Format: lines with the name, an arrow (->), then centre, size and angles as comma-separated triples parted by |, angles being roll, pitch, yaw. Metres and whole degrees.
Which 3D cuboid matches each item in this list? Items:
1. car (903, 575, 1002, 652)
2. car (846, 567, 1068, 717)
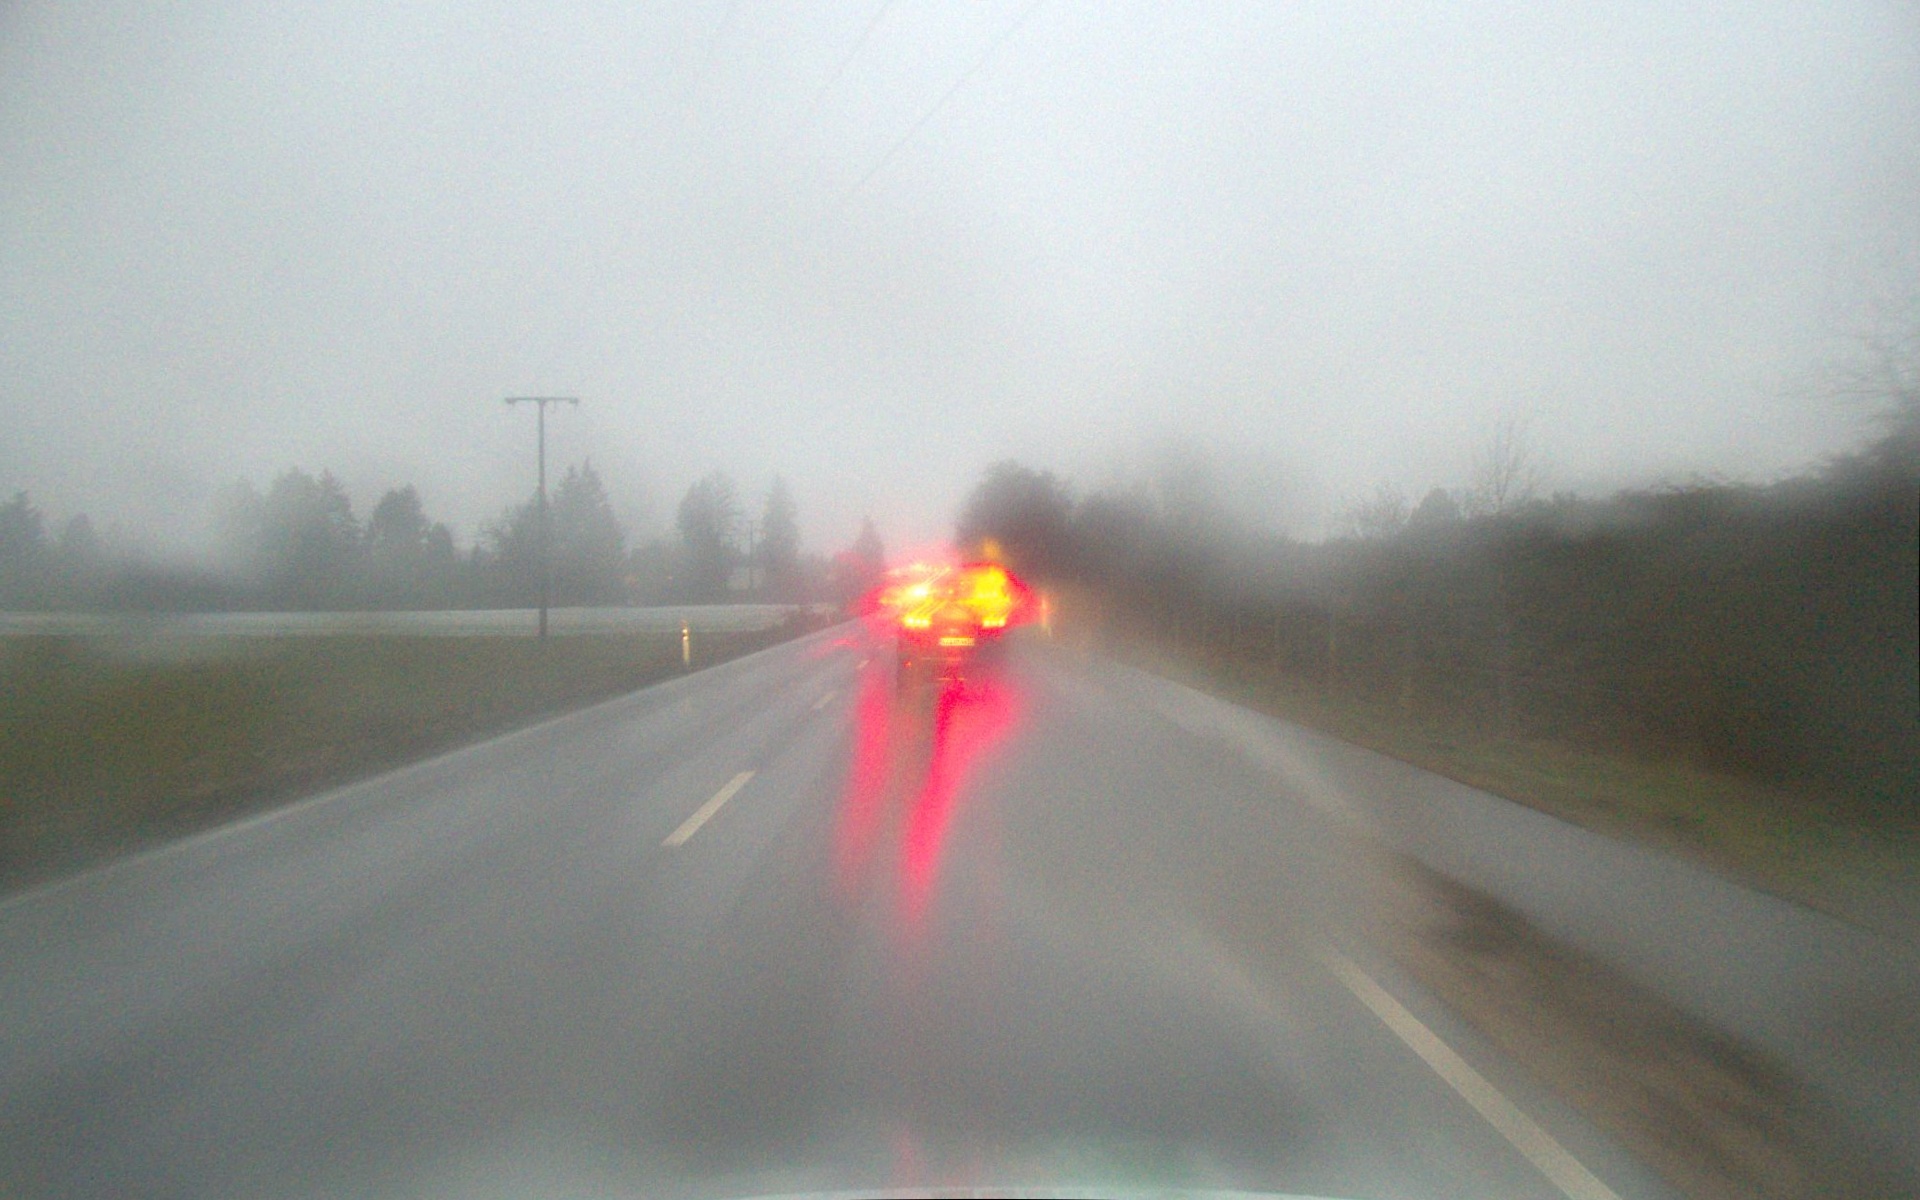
car -> -0.201, 0.341, 48.615 | 2.699, 2.071, 6.590 | -1, 0, 0
car -> -0.042, 0.570, 26.682 | 3.100, 2.071, 6.851 | -1, 0, 0
